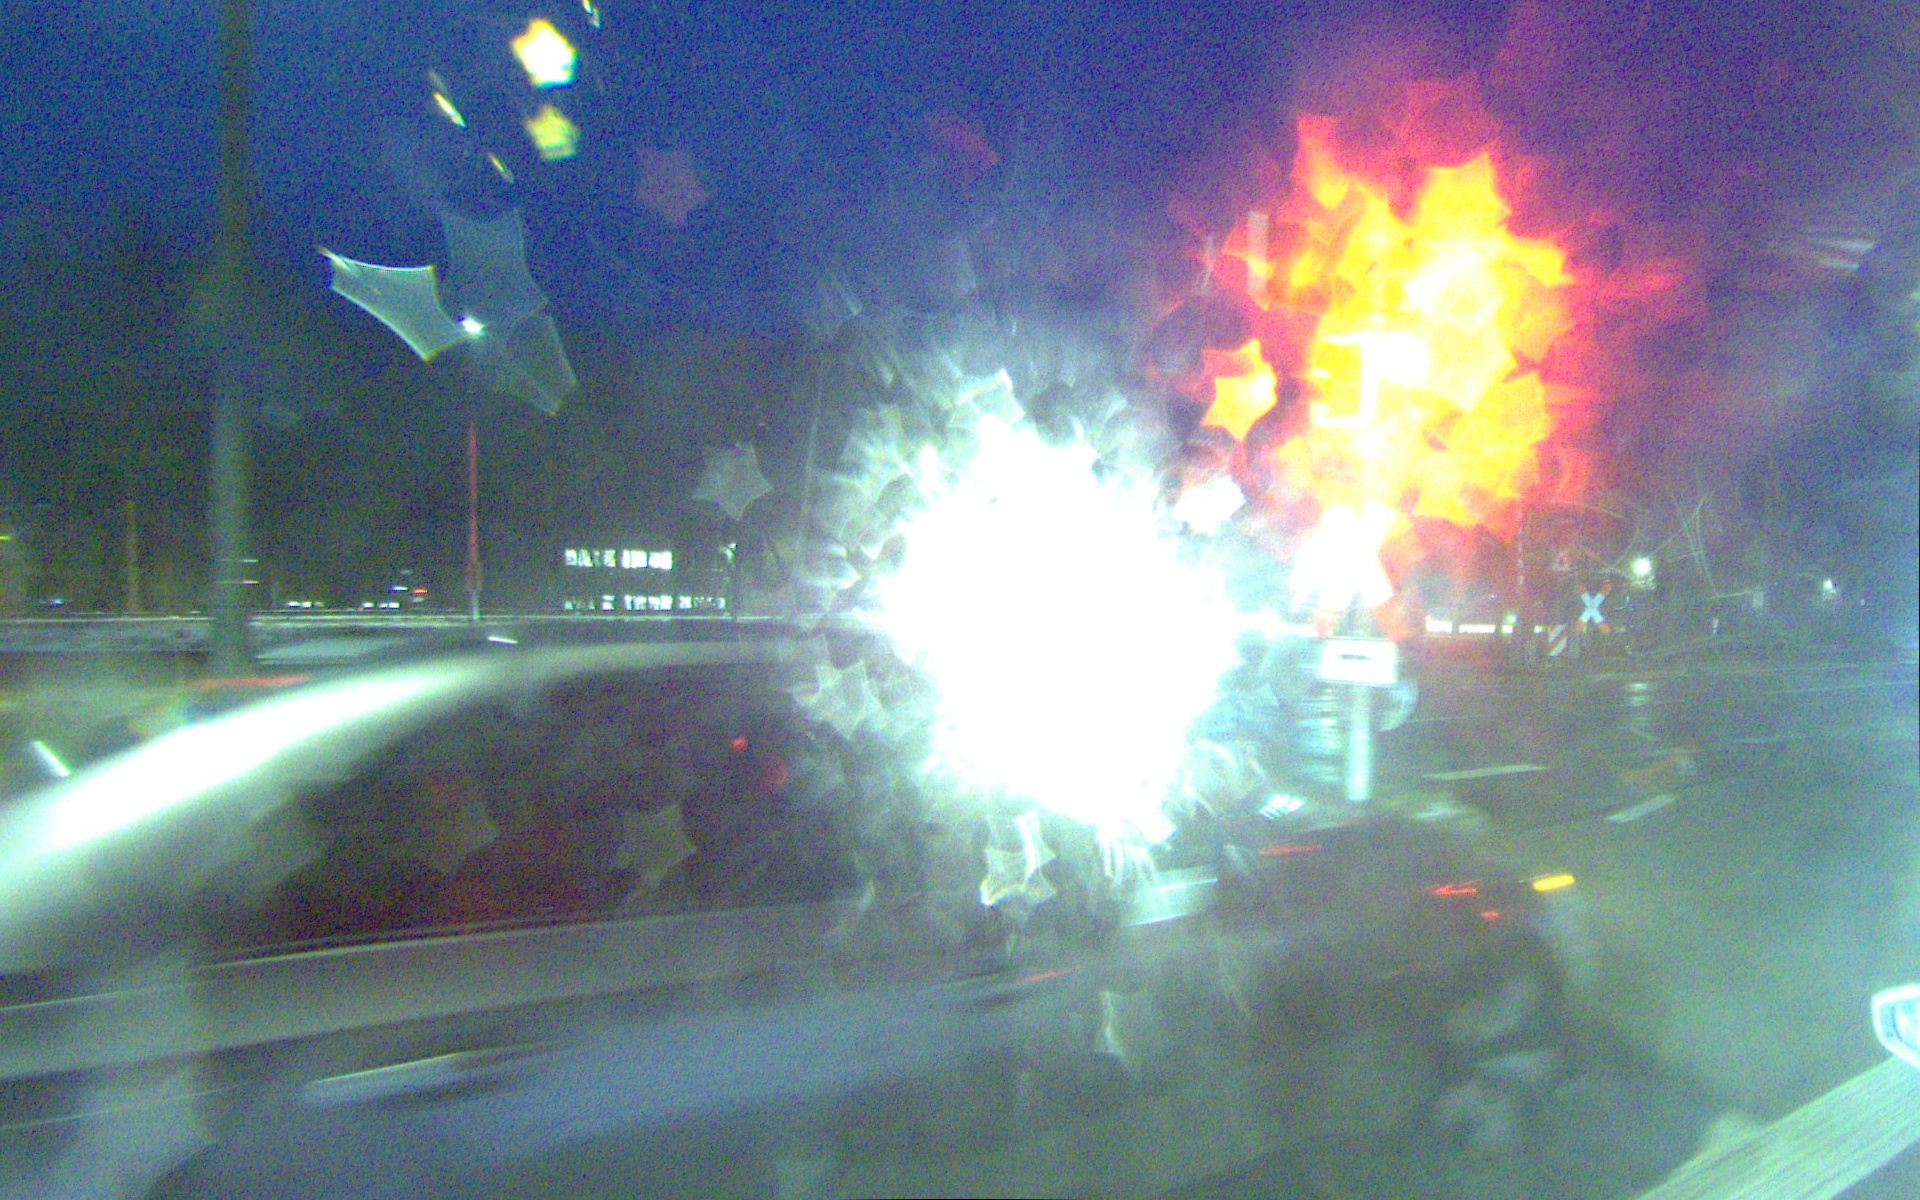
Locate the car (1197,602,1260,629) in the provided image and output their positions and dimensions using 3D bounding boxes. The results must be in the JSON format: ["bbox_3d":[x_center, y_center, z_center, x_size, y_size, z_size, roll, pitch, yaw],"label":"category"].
[{"bbox_3d":[16.110,0.935,60.243,3.969,1.539,1.706,1,1,-42],"label":"car"}]

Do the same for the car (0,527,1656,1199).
[{"bbox_3d":[-0.342,0.722,2.568,4.382,1.531,1.776,1,-1,-29],"label":"car"}]

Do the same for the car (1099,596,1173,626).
[{"bbox_3d":[9.696,0.623,55.322,3.961,1.539,1.710,1,1,-36],"label":"car"}]

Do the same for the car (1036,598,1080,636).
[{"bbox_3d":[4.387,0.719,44.585,1.485,1.538,4.376,2,1,11],"label":"car"}]
